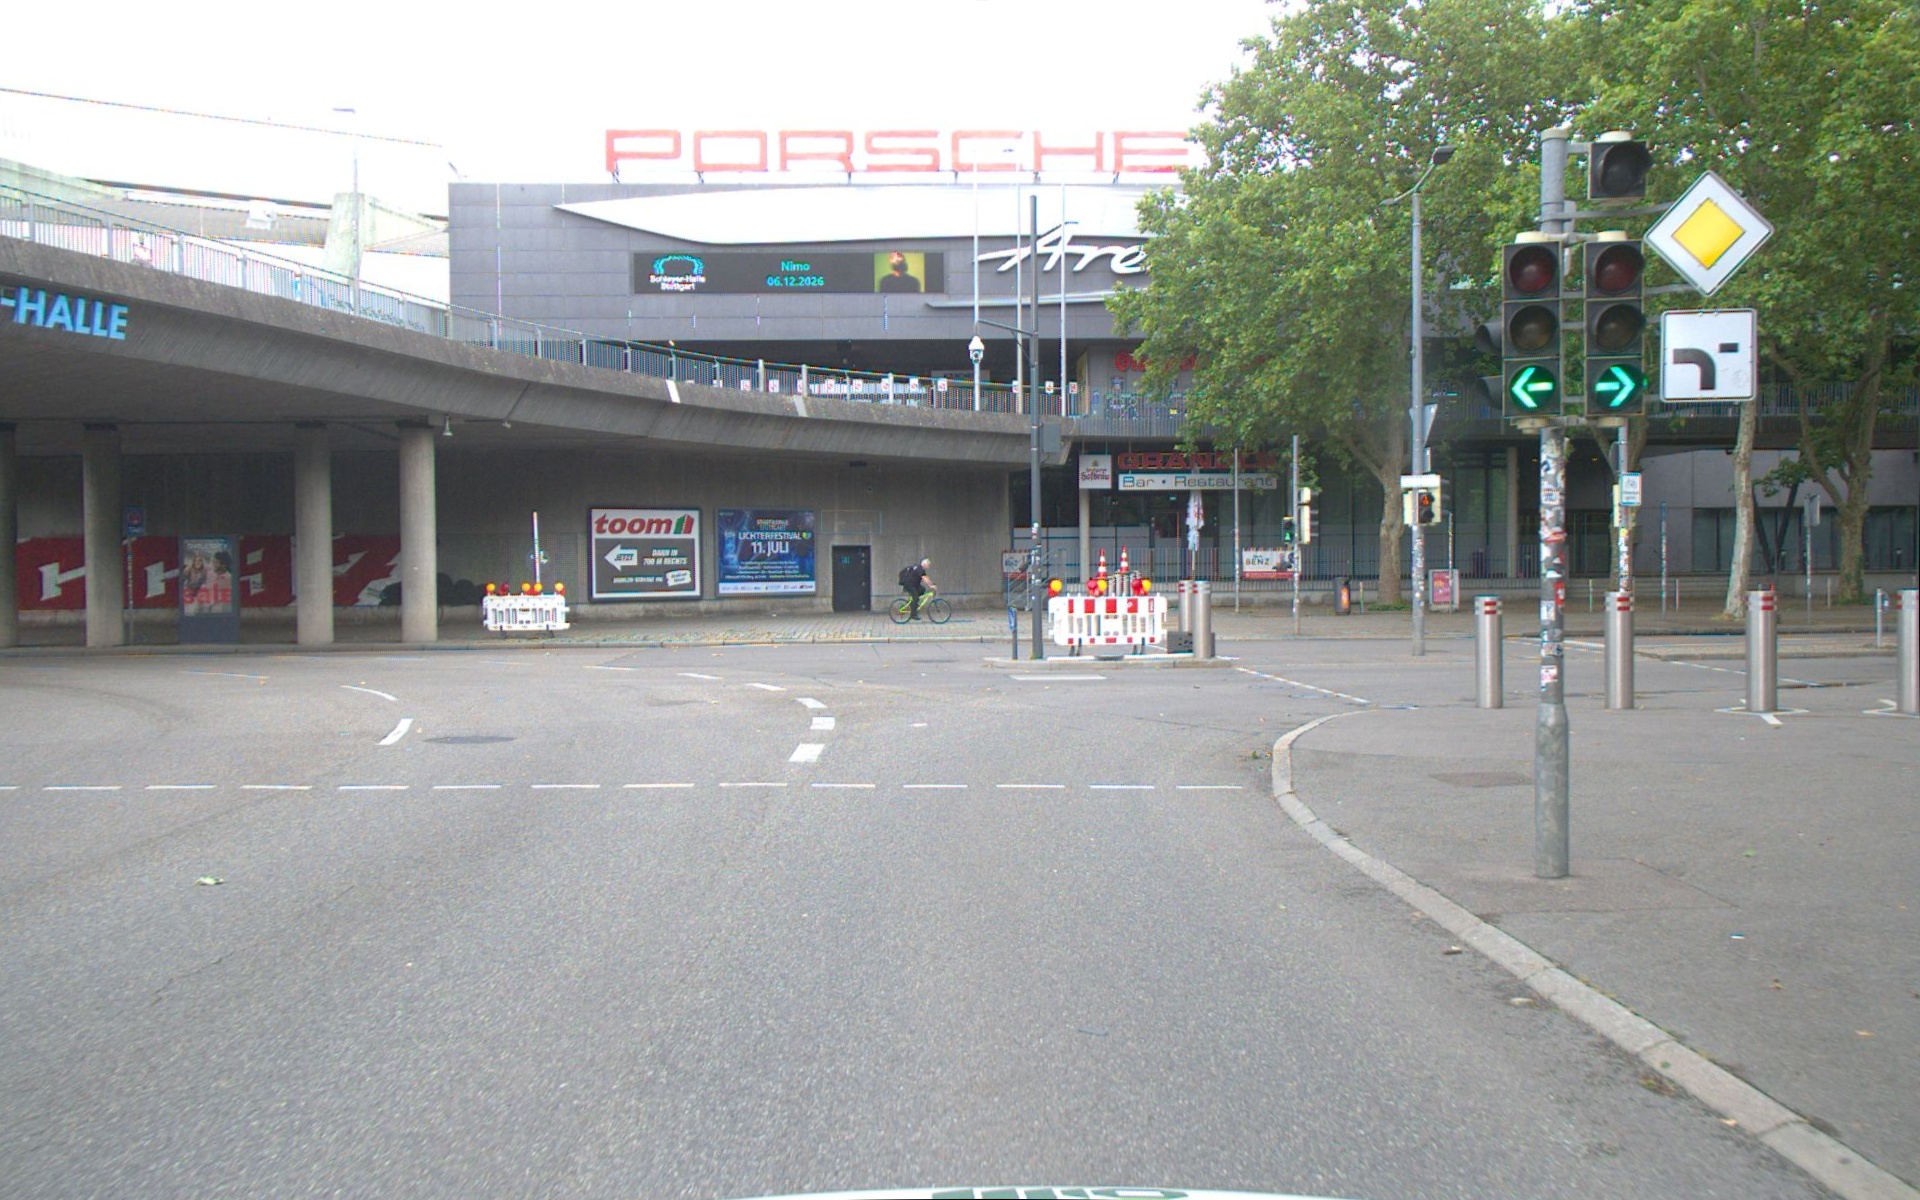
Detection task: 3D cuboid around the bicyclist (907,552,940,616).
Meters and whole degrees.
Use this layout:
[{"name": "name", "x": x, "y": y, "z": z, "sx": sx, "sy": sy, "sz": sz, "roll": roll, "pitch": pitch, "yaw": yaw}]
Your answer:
[{"name": "bicyclist", "x": -0.998, "y": -0.437, "z": 45.513, "sx": 0.835, "sy": 1.727, "sz": 0.766, "roll": 1, "pitch": 0, "yaw": -5}]

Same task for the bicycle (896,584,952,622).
[{"name": "bicycle", "x": -1.001, "y": 0.078, "z": 45.508, "sx": 1.503, "sy": 1.031, "sz": 0.516, "roll": 1, "pitch": 0, "yaw": -5}]
